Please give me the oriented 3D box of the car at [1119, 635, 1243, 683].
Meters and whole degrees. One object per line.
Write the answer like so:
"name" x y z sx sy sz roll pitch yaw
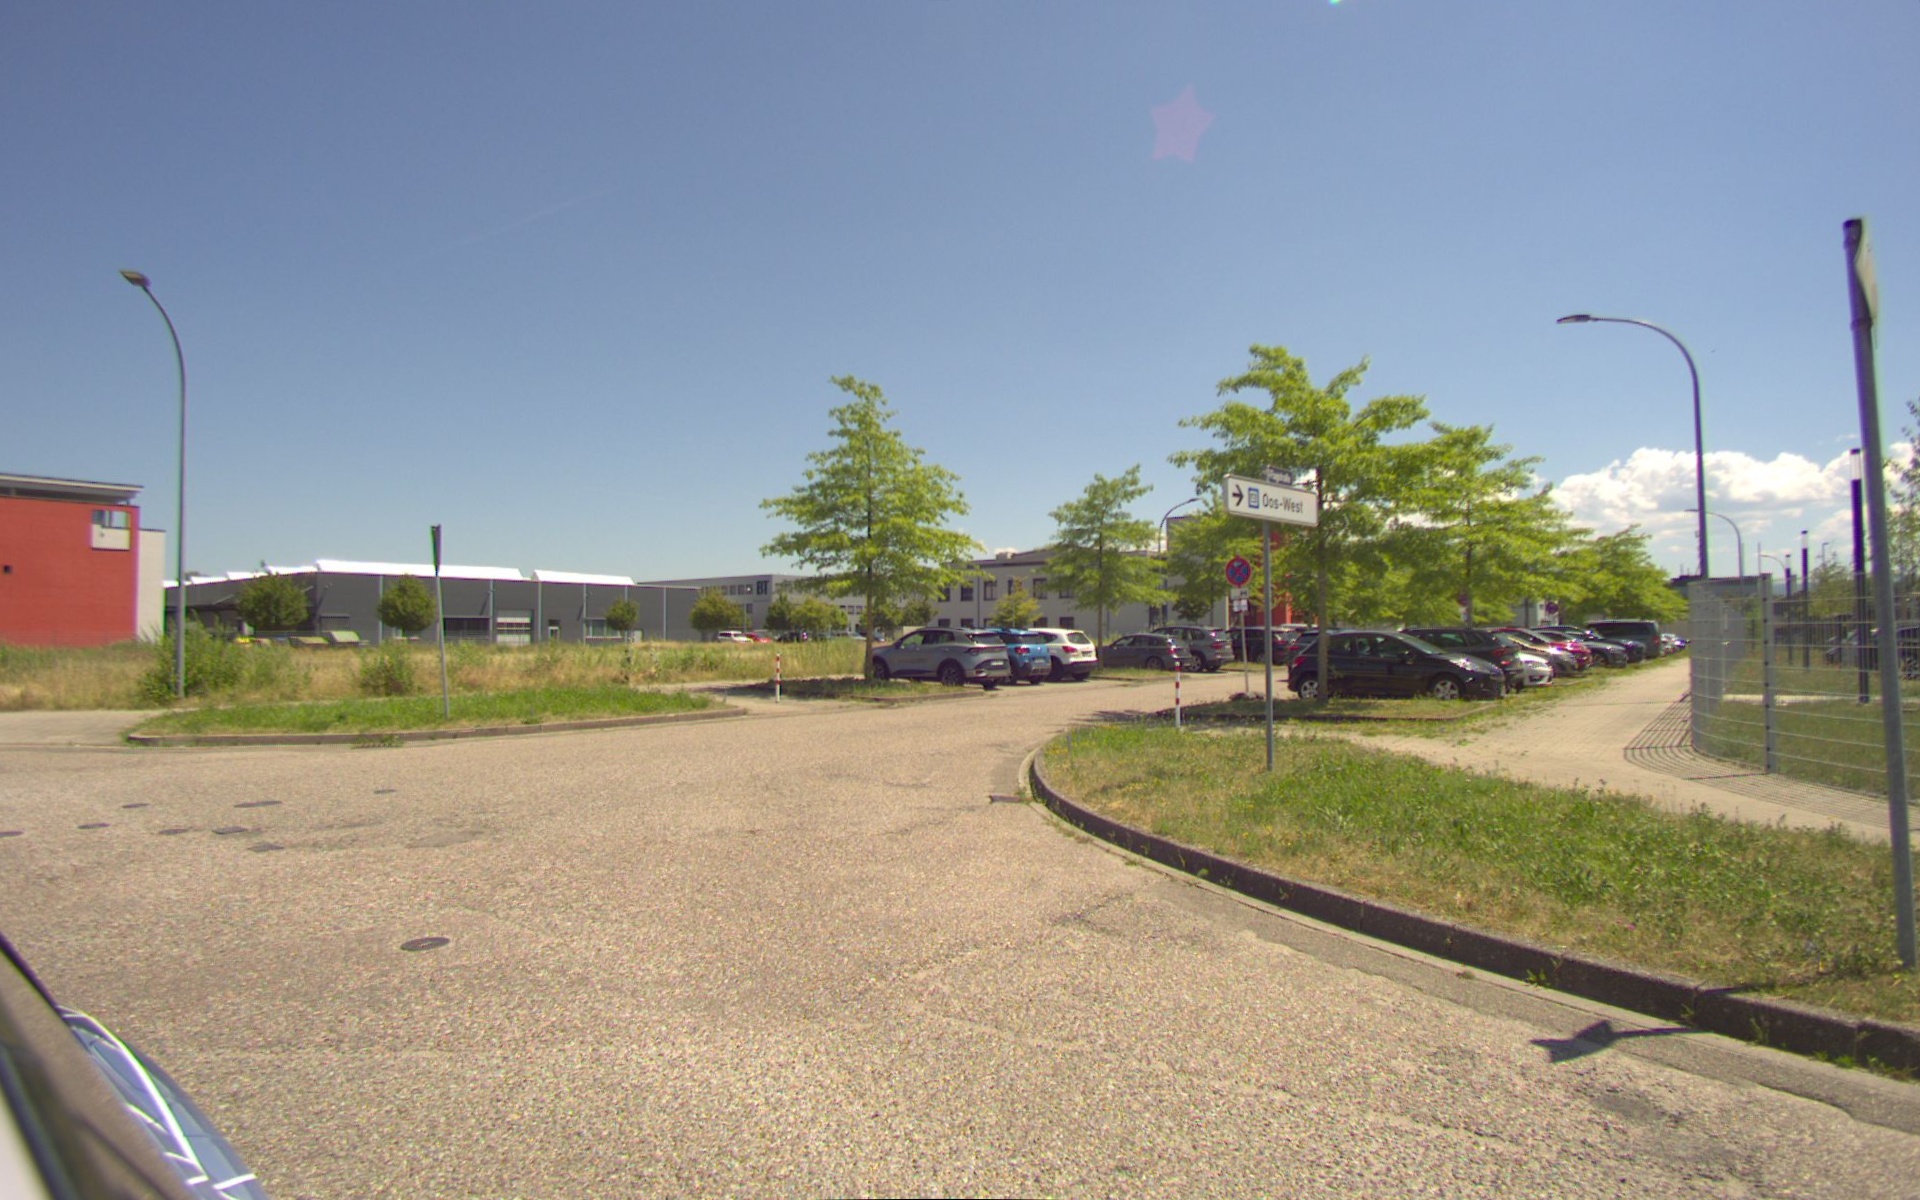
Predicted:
"car" 8.411 2.225 38.657 4.200 1.711 1.932 -2 -3 40

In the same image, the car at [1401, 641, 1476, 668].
"car" 32.324 3.669 68.434 4.200 1.711 1.932 -2 -3 40

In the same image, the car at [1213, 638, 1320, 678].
"car" 13.830 2.577 45.805 4.200 1.711 1.932 -2 -3 40

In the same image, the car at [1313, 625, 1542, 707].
"car" 10.175 1.468 22.230 4.250 1.633 1.589 -4 -5 41

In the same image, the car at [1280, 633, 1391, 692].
"car" 12.031 1.950 32.258 1.998 1.706 4.577 0 -3 38

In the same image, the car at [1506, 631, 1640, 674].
"car" 22.999 1.992 38.038 4.110 1.487 1.590 -4 -5 38

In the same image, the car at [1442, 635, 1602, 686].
"car" 17.445 1.916 31.533 4.110 1.487 1.590 -4 -5 38

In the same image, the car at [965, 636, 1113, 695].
"car" 2.430 2.008 31.756 4.305 1.711 1.932 -2 -3 40

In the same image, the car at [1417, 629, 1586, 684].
"car" 15.787 1.688 29.624 4.110 1.487 1.590 -4 -5 38

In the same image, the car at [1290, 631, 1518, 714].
"car" 8.725 1.445 20.077 3.796 1.487 1.589 -4 -5 41

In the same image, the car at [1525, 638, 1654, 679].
"car" 24.791 2.314 39.934 4.110 1.487 1.590 -4 -5 38

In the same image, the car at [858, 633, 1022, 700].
"car" -0.610 1.768 27.744 4.305 1.711 1.932 -2 -3 40

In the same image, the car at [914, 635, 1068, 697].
"car" 0.867 1.900 29.948 4.305 1.711 1.932 -2 -3 40

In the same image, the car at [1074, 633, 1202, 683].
"car" 6.434 2.087 36.824 4.200 1.711 1.932 -2 -3 40

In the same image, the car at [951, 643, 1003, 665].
"car" 1.412 4.480 84.273 3.993 1.763 1.975 -2 -4 37

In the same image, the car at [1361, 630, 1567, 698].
"car" 11.885 1.542 24.010 4.110 1.487 1.590 -4 -5 38

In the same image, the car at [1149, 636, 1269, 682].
"car" 9.845 2.290 40.102 4.200 1.711 1.932 -2 -3 40

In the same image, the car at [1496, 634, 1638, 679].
"car" 21.540 2.024 35.994 4.110 1.487 1.590 -4 -5 38

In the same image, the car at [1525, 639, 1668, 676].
"car" 28.212 2.571 44.953 5.108 1.487 2.187 -4 -5 38

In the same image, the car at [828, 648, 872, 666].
"car" -10.536 5.447 96.882 3.992 1.763 1.976 -2 -4 36

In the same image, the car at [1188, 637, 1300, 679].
"car" 12.132 2.456 43.400 4.200 1.711 1.932 -2 -3 40

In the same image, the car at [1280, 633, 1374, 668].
"car" 19.046 2.605 52.632 4.200 1.711 1.932 -2 -3 40
